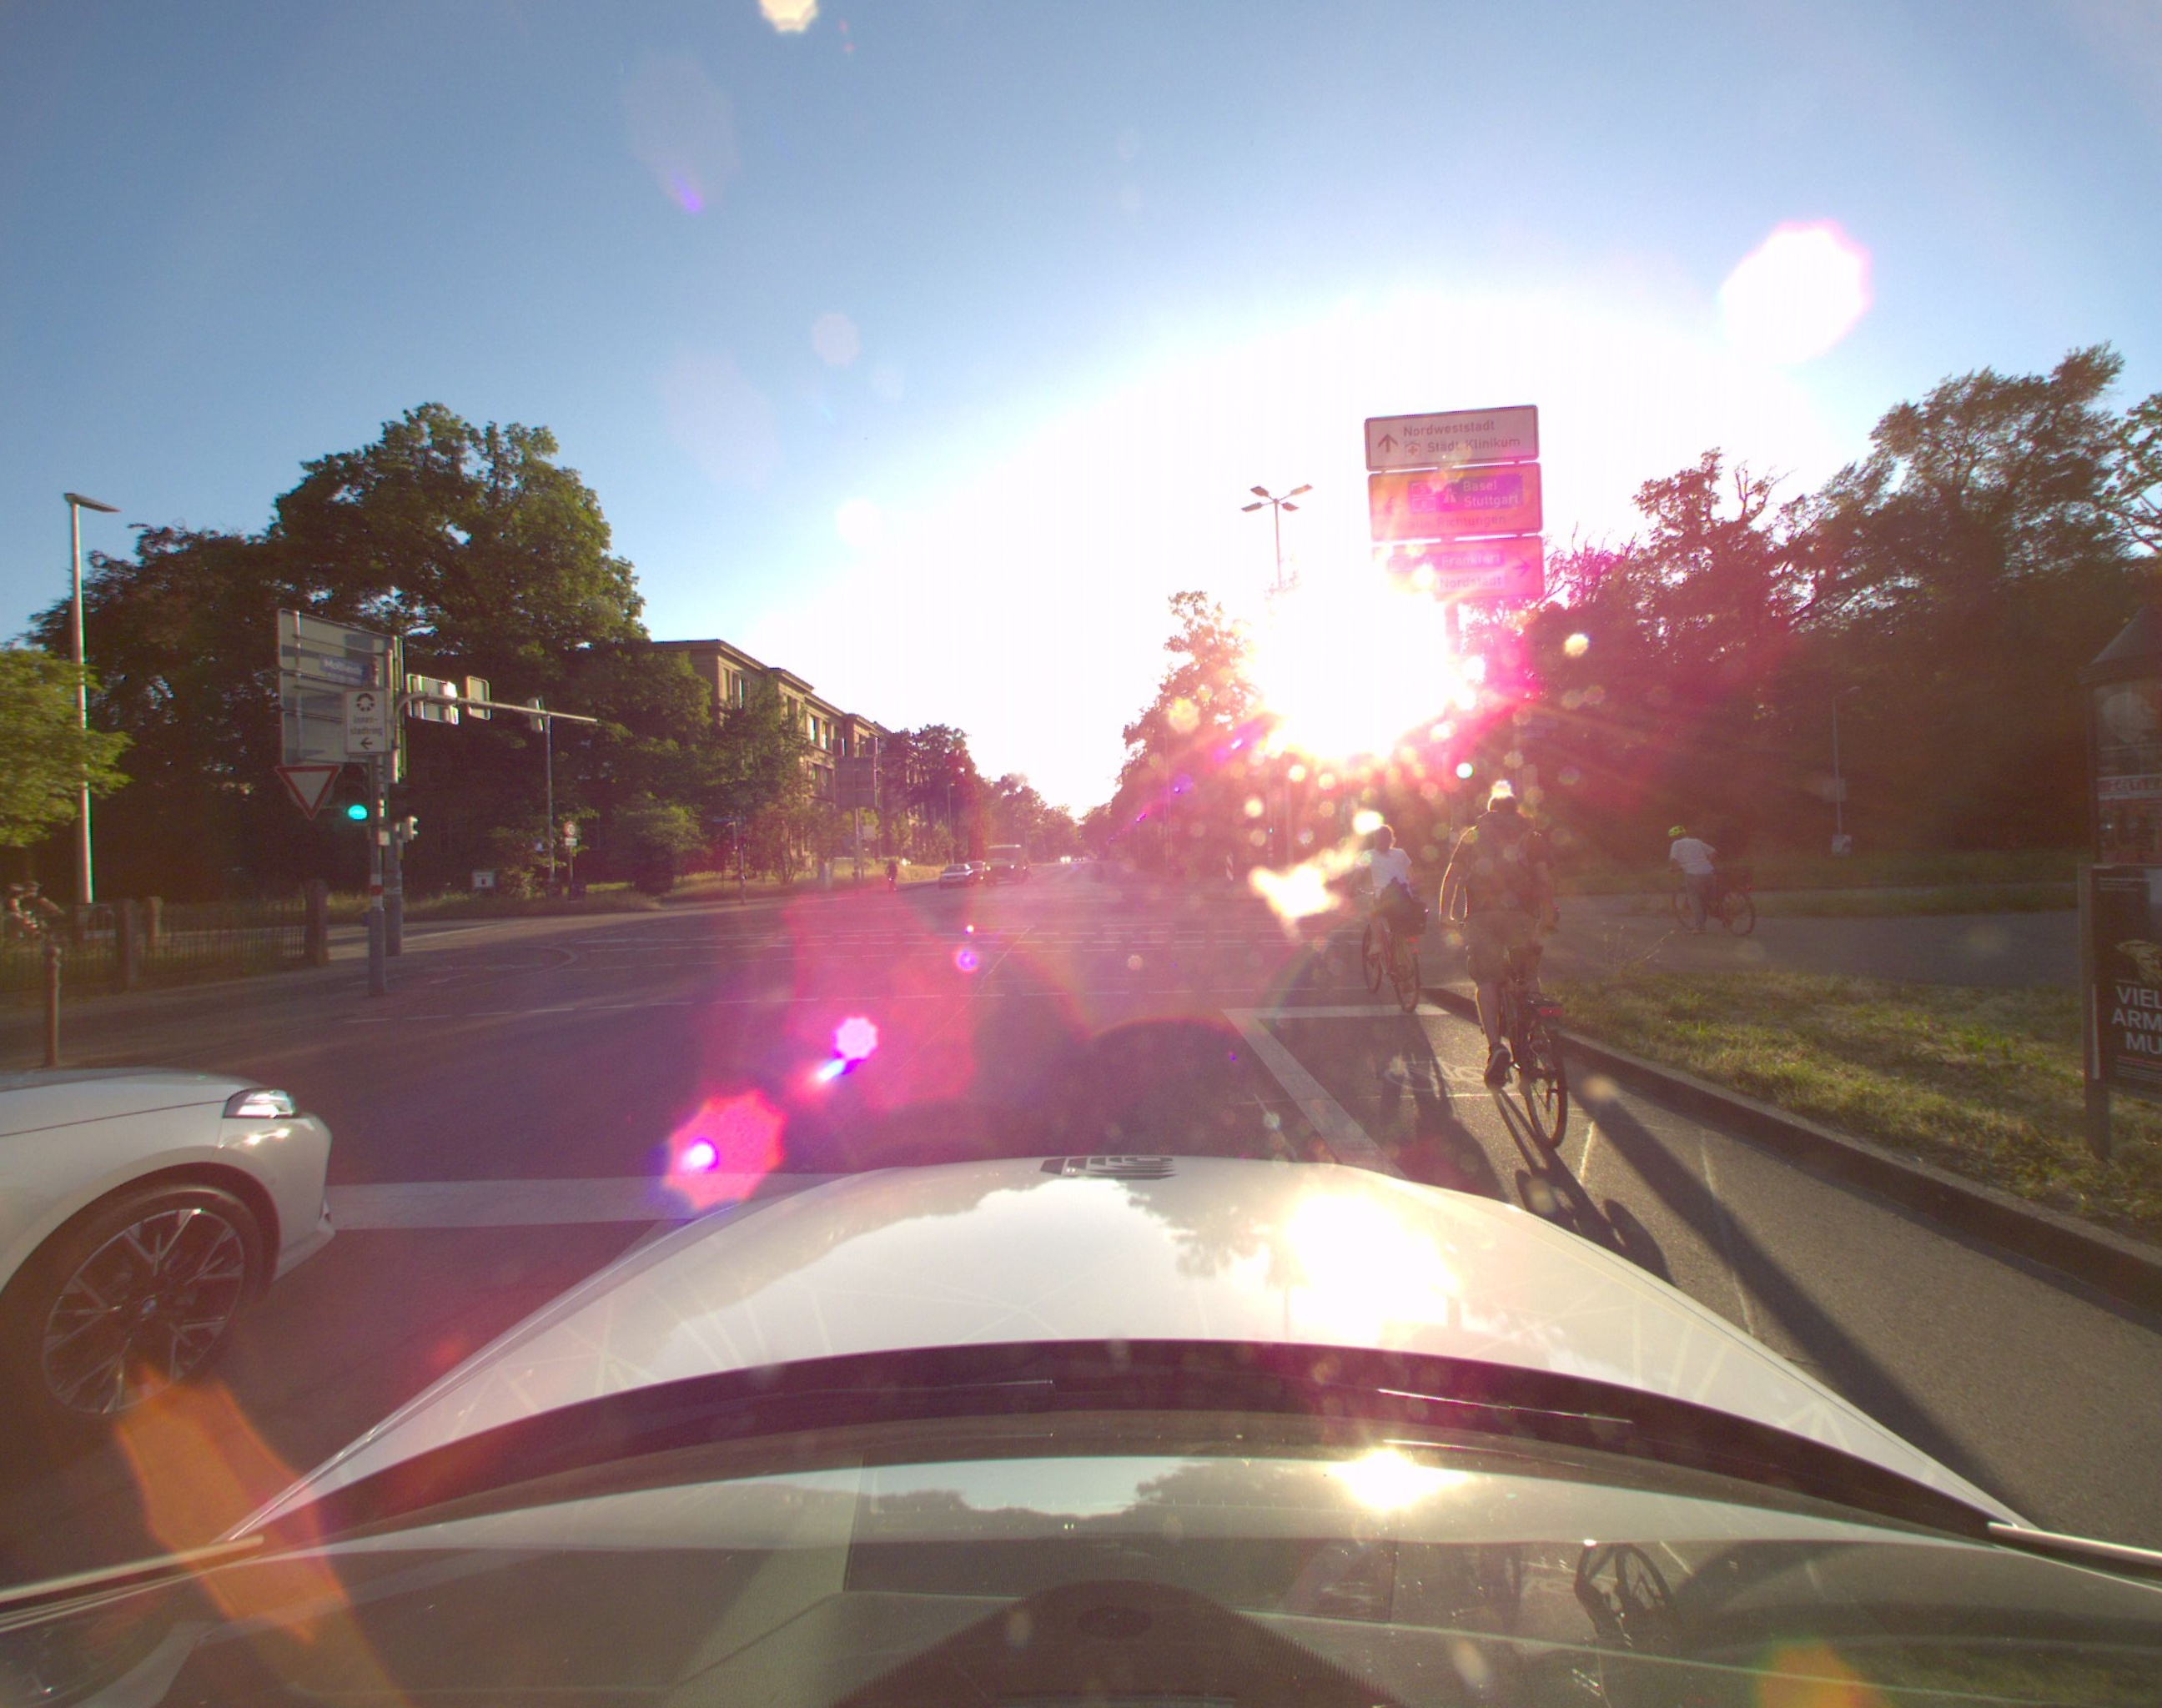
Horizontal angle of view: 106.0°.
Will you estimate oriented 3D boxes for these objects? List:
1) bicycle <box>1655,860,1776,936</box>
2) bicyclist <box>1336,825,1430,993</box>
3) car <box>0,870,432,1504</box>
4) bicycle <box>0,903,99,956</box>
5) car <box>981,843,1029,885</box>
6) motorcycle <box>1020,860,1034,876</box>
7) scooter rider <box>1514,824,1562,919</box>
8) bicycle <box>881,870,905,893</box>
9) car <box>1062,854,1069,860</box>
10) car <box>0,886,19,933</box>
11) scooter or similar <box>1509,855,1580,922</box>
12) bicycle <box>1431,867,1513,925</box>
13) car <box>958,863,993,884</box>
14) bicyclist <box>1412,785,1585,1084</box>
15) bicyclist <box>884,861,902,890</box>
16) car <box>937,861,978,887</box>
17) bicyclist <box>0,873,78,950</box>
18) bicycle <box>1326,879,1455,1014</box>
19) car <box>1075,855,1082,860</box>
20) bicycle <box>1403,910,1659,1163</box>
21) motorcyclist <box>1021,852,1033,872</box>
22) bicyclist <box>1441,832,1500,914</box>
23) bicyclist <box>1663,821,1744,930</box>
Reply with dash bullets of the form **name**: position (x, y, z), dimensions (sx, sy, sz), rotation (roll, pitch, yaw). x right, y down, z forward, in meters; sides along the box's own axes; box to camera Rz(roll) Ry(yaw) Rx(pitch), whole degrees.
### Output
- **bicycle**: position (9.388, 0.614, 12.143), dimensions (0.560, 1.014, 1.806), rotation (-2, 0, 8)
- **bicyclist**: position (3.025, 0.526, 8.235), dimensions (0.601, 1.586, 0.910), rotation (-1, 0, 2)
- **car**: position (-3.443, 0.819, 1.062), dimensions (1.746, 1.466, 4.189), rotation (-2, 0, 1)
- **bicycle**: position (-22.650, 1.626, 17.652), dimensions (1.890, 1.089, 0.660), rotation (0, -1, 0)
- **car**: position (-4.444, 0.579, 48.674), dimensions (2.031, 2.278, 5.943), rotation (-2, 0, 2)
- **motorcycle**: position (-3.682, 0.951, 55.894), dimensions (0.751, 1.001, 1.879), rotation (-2, 0, 2)
- **scooter rider**: position (8.762, 0.333, 15.630), dimensions (0.563, 1.766, 0.505), rotation (-2, -1, 3)
- **bicycle**: position (-10.086, 1.472, 43.817), dimensions (0.684, 1.123, 2.169), rotation (-2, 0, 2)
- **car**: position (-4.117, 0.902, 212.701), dimensions (1.766, 1.474, 3.773), rotation (-2, 0, -2)
- **car**: position (-44.731, 2.284, 31.761), dimensions (4.093, 1.845, 1.862), rotation (-2, 0, 0)
- **scooter or similar**: position (8.761, 0.631, 15.446), dimensions (0.559, 1.189, 1.423), rotation (-2, -1, 3)
- **bicycle**: position (7.469, 0.774, 15.672), dimensions (0.767, 1.007, 2.019), rotation (-1, 0, 6)
- **car**: position (-7.224, 1.334, 55.907), dimensions (1.758, 1.328, 3.644), rotation (-2, 0, 2)
- **bicyclist**: position (2.505, 0.454, 4.975), dimensions (0.694, 1.667, 0.800), rotation (-1, -1, 8)
- **bicyclist**: position (-10.094, 1.144, 43.708), dimensions (0.680, 1.512, 0.956), rotation (-2, 0, 1)
- **car**: position (-7.448, 1.184, 49.468), dimensions (1.723, 1.409, 4.141), rotation (-2, 0, 2)
- **bicyclist**: position (-22.629, 1.232, 17.658), dimensions (0.908, 1.633, 0.653), rotation (0, -1, 0)
- **bicycle**: position (3.037, 0.854, 8.187), dimensions (0.611, 1.138, 1.885), rotation (-1, 0, 2)
- **car**: position (-0.746, 1.123, 254.766), dimensions (1.988, 1.640, 3.997), rotation (-2, 0, -2)
- **bicycle**: position (2.480, 0.919, 4.762), dimensions (0.694, 1.063, 1.829), rotation (-1, 0, 8)
- **motorcyclist**: position (-3.699, 0.549, 55.887), dimensions (0.747, 1.358, 0.704), rotation (-2, -1, 1)
- **bicyclist**: position (7.453, 0.359, 15.625), dimensions (0.756, 1.518, 0.858), rotation (-1, 0, 6)
- **bicyclist**: position (9.401, 0.315, 12.333), dimensions (0.551, 1.569, 0.901), rotation (-2, -1, 8)
